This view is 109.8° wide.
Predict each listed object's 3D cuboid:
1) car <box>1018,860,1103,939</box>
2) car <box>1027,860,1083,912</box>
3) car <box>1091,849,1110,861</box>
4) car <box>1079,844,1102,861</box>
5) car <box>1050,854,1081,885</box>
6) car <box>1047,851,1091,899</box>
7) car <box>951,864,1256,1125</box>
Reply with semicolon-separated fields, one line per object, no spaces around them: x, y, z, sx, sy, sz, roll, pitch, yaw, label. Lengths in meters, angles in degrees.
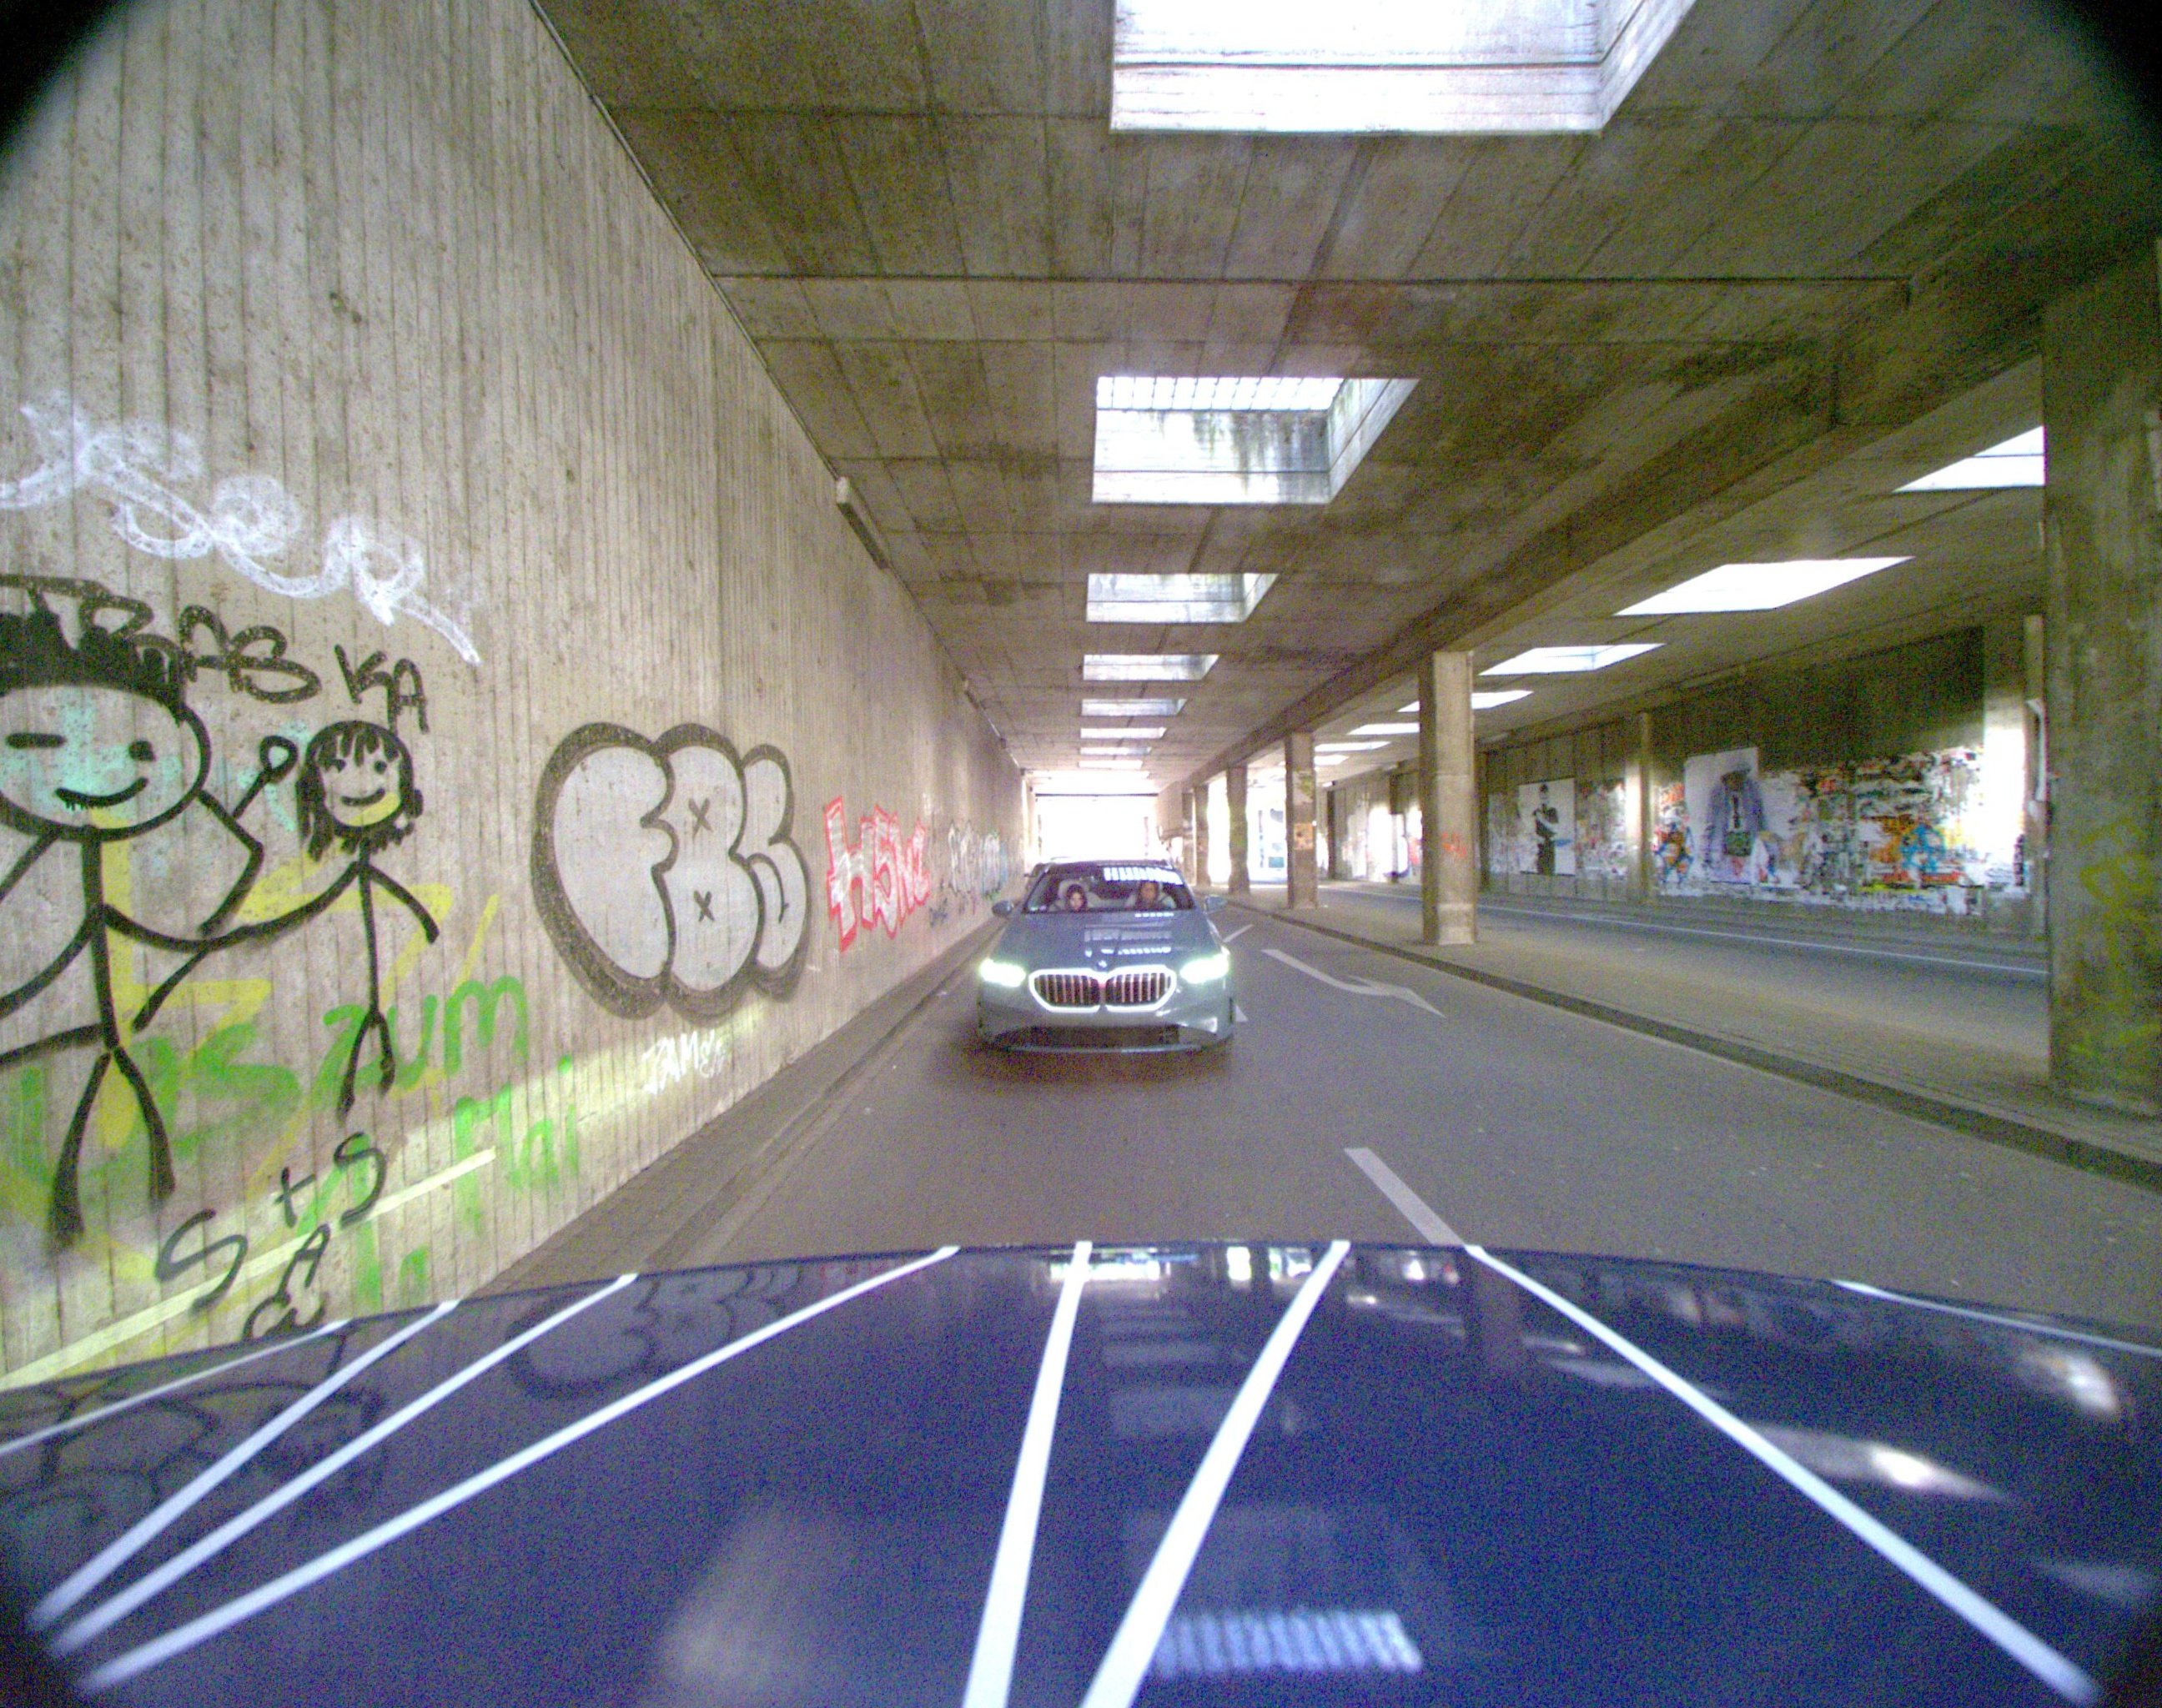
-0.425;0.924;17.258;1.679;1.516;3.969;-2;0;0;car
-0.761;0.952;23.884;1.592;1.432;3.806;-2;0;0;car
2.478;0.146;97.938;1.741;1.519;3.786;-2;0;-9;car
1.282;-0.183;103.630;2.161;2.150;4.785;-2;0;-12;car
-0.806;0.811;41.218;1.592;1.562;3.694;-2;0;0;car
-0.462;0.775;29.891;1.592;1.711;3.694;-2;0;0;car
0.128;0.909;7.249;1.861;1.516;5.042;-2;0;0;car
